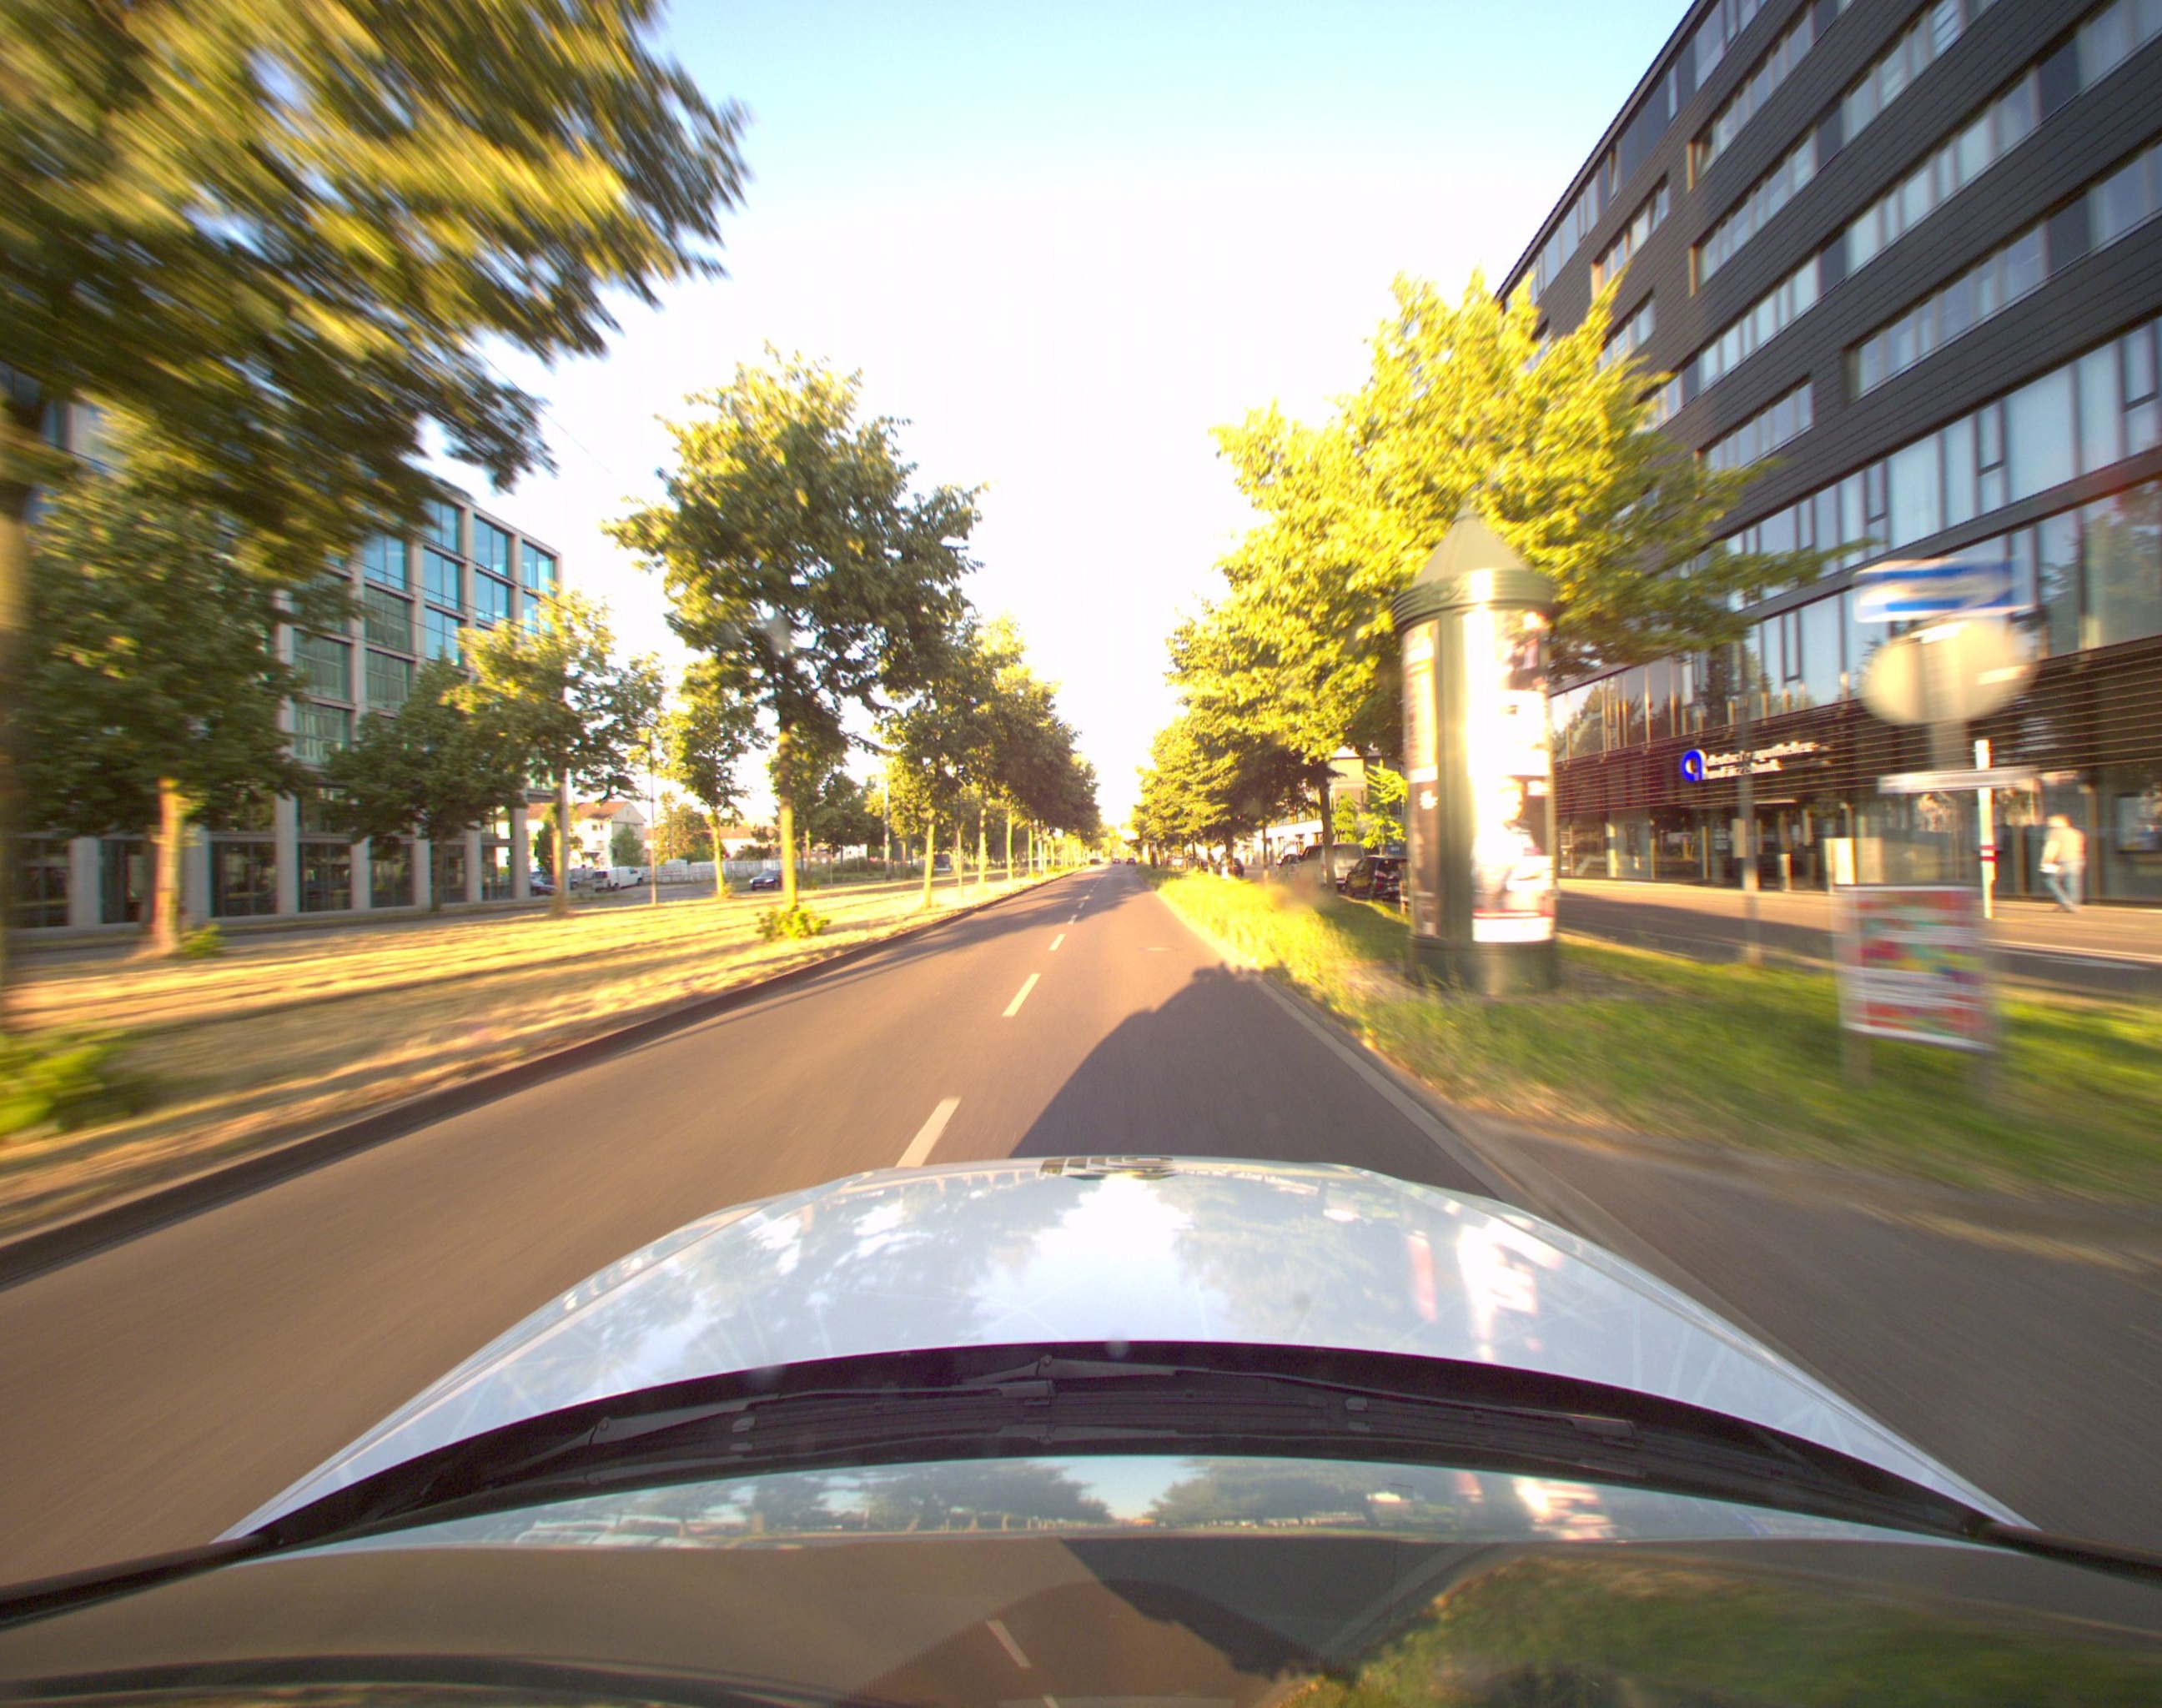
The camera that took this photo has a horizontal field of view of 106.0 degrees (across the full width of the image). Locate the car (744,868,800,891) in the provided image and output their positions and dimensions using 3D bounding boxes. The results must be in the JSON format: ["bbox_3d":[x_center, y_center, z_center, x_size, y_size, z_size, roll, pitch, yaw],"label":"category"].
[{"bbox_3d":[-21.708,1.796,57.379,1.921,1.422,4.395,-2,0,5],"label":"car"}]

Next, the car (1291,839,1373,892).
[{"bbox_3d":[10.143,0.431,33.329,1.979,1.989,4.934,-1,0,2],"label":"car"}]

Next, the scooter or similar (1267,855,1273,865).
[{"bbox_3d":[23.094,0.686,99.580,0.470,1.211,1.230,-2,-1,4],"label":"scooter or similar"}]

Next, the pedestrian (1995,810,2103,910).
[{"bbox_3d":[18.165,0.111,15.301,0.893,1.796,0.912,-2,0,1],"label":"pedestrian"}]

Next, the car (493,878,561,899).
[{"bbox_3d":[-42.798,2.676,62.957,3.968,1.446,1.897,-2,0,5],"label":"car"}]

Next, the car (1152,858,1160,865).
[{"bbox_3d":[16.312,1.731,176.672,1.569,1.472,3.884,-1,-1,3],"label":"car"}]

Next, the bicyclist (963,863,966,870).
[{"bbox_3d":[-27.146,2.944,189.412,0.617,1.456,0.937,-1,-1,0],"label":"bicyclist"}]

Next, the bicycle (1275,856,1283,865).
[{"bbox_3d":[22.816,0.743,93.814,0.449,1.028,1.402,-2,-1,29],"label":"bicycle"}]

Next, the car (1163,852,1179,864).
[{"bbox_3d":[14.451,0.586,130.647,1.987,1.852,4.665,-1,-1,0],"label":"car"}]

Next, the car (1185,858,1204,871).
[{"bbox_3d":[13.086,1.178,93.813,1.703,1.515,3.760,1,0,1],"label":"car"}]

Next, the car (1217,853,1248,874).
[{"bbox_3d":[11.680,0.717,63.027,1.773,1.494,4.003,2,0,2],"label":"car"}]

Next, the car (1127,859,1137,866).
[{"bbox_3d":[9.949,1.656,158.984,1.904,1.486,4.001,-1,-1,2],"label":"car"}]

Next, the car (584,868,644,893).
[{"bbox_3d":[-41.464,2.282,72.510,2.197,2.013,5.087,-2,0,3],"label":"car"}]

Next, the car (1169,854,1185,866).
[{"bbox_3d":[13.978,0.817,118.433,1.985,1.642,4.882,-2,-1,3],"label":"car"}]

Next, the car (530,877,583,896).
[{"bbox_3d":[-46.976,2.897,73.075,1.985,1.418,4.003,-2,0,3],"label":"car"}]

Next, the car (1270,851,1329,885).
[{"bbox_3d":[10.472,0.651,39.298,1.832,1.571,4.062,-1,0,1],"label":"car"}]

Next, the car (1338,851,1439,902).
[{"bbox_3d":[9.901,0.679,26.584,1.852,1.496,4.293,0,0,3],"label":"car"}]

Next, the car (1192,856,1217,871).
[{"bbox_3d":[12.592,0.975,83.490,1.846,1.367,4.834,-2,-1,1],"label":"car"}]

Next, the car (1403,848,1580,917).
[{"bbox_3d":[9.956,0.629,20.284,1.910,1.496,5.041,-1,0,1],"label":"car"}]

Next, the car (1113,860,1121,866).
[{"bbox_3d":[8.808,2.149,201.800,1.904,1.486,4.001,-1,-1,2],"label":"car"}]
